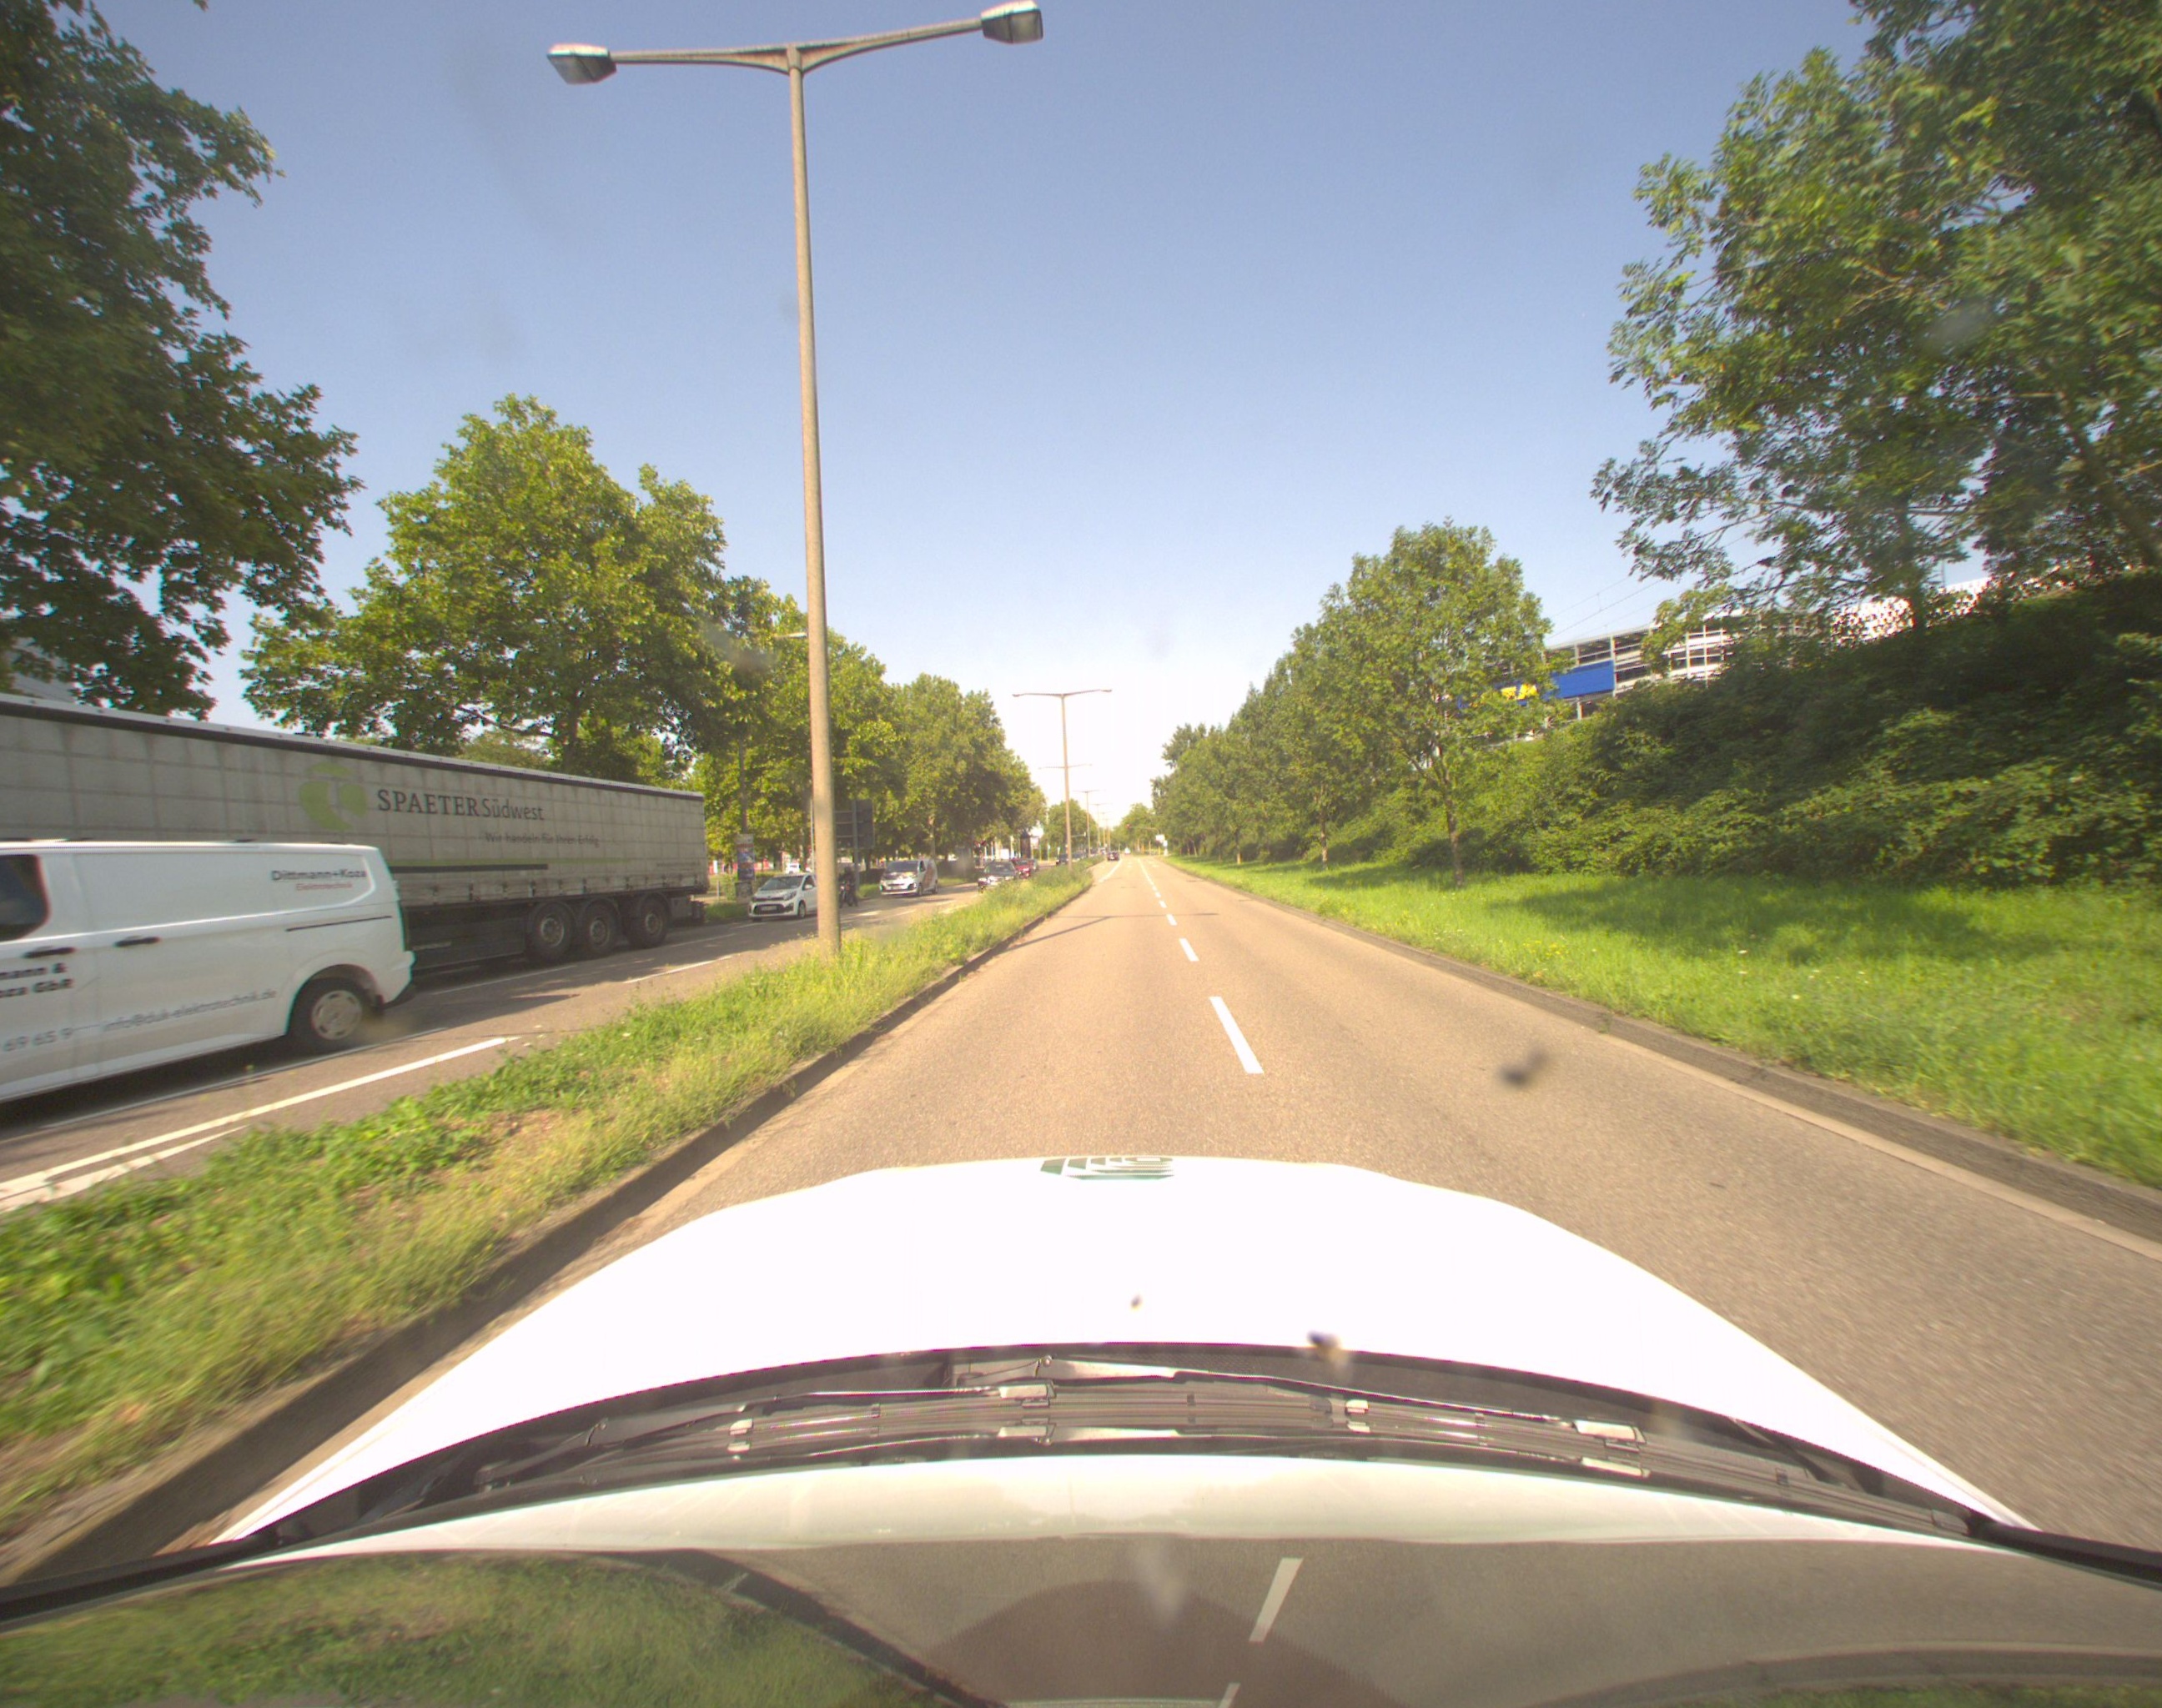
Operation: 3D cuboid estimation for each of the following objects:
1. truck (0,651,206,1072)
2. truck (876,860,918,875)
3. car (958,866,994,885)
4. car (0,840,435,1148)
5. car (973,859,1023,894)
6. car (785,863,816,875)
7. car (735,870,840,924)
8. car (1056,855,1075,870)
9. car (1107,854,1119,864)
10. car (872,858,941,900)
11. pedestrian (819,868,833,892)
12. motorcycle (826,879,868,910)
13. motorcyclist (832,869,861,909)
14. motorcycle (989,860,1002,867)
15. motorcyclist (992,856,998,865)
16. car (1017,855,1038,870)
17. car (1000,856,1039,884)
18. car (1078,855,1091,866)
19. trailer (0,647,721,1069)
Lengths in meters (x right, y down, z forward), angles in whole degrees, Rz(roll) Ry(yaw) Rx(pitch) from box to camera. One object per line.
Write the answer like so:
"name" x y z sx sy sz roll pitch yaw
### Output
"truck" -11.162 0.135 6.023 2.596 3.819 5.897 -4 -1 3
"truck" -43.518 3.087 192.593 9.048 2.958 3.478 -3 0 -33
"car" -8.067 1.632 62.628 1.782 1.263 4.101 -4 0 5
"car" -7.835 0.927 5.928 1.985 1.953 5.040 -2 0 3
"car" -3.993 1.074 39.910 1.740 1.479 4.589 -4 -1 2
"car" -42.595 2.310 123.634 4.018 1.679 1.850 -2 -1 -36
"car" -9.524 1.354 26.757 1.738 1.479 3.836 -4 -1 5
"car" -1.923 1.062 103.571 1.985 1.759 4.481 -2 0 4
"car" 5.194 0.786 132.432 1.683 1.486 4.007 -2 0 7
"car" -8.653 1.184 40.961 1.976 1.858 4.974 -5 -1 4
"pedestrian" -17.706 1.792 56.606 0.614 1.653 0.934 -2 -1 3
"motorcycle" -9.358 1.612 32.669 0.791 1.107 2.470 -2 0 5
"motorcyclist" -9.374 1.379 32.604 0.774 1.554 0.923 -2 -1 4
"motorcycle" -14.717 1.593 139.557 2.083 1.136 0.670 -2 -1 -32
"motorcyclist" -14.738 1.125 139.575 0.686 1.572 0.676 -2 -1 -33
"car" -5.849 0.873 88.657 1.784 1.482 4.002 -3 0 2
"car" -4.183 1.072 56.049 1.945 1.724 4.591 -3 0 4
"car" 0.611 1.086 133.792 1.871 1.594 4.111 -2 -1 3
"trailer" -10.707 0.138 13.114 2.622 3.821 13.825 -4 -1 4
